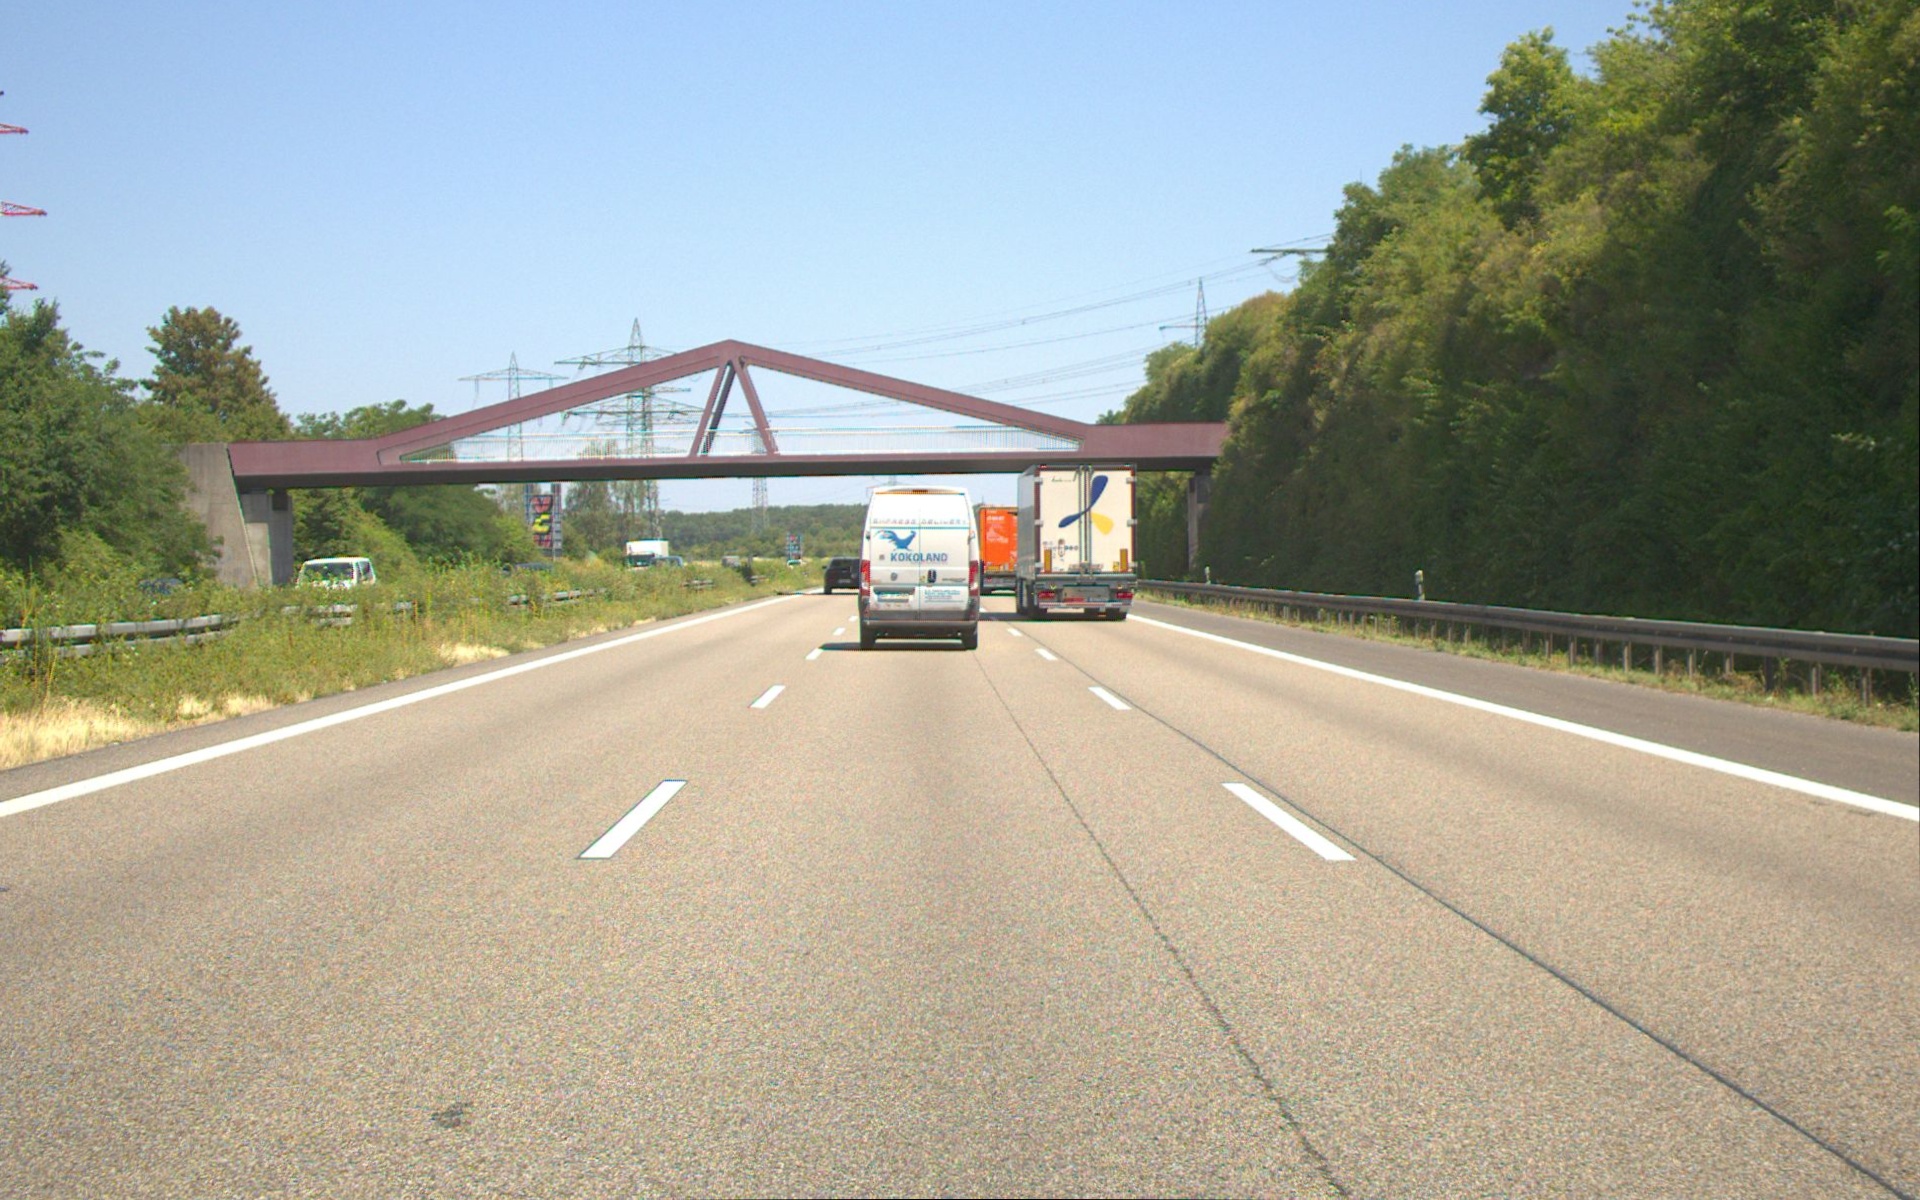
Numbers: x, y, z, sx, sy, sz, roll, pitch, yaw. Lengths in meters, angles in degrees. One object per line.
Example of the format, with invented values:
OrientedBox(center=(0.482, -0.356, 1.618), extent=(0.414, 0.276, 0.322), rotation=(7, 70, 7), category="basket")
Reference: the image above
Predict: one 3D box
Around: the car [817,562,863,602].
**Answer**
OrientedBox(center=(-5.746, -0.863, 164.852), extent=(1.982, 1.811, 3.813), rotation=(1, 1, 1), category="car")

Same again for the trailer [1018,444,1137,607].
OrientedBox(center=(3.073, -1.970, 92.977), extent=(2.637, 4.046, 12.366), rotation=(1, 1, 0), category="trailer")

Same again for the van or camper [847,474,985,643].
OrientedBox(center=(-0.775, -0.731, 59.949), extent=(2.230, 2.772, 5.423), rotation=(1, 1, -1), category="van or camper")

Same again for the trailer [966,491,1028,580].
OrientedBox(center=(1.675, -2.925, 157.103), extent=(2.637, 3.883, 7.069), rotation=(1, 1, 0), category="trailer")

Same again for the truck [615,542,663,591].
OrientedBox(center=(-24.410, -2.584, 261.978), extent=(2.808, 3.525, 10.189), rotation=(-2, 1, -1), category="truck")
